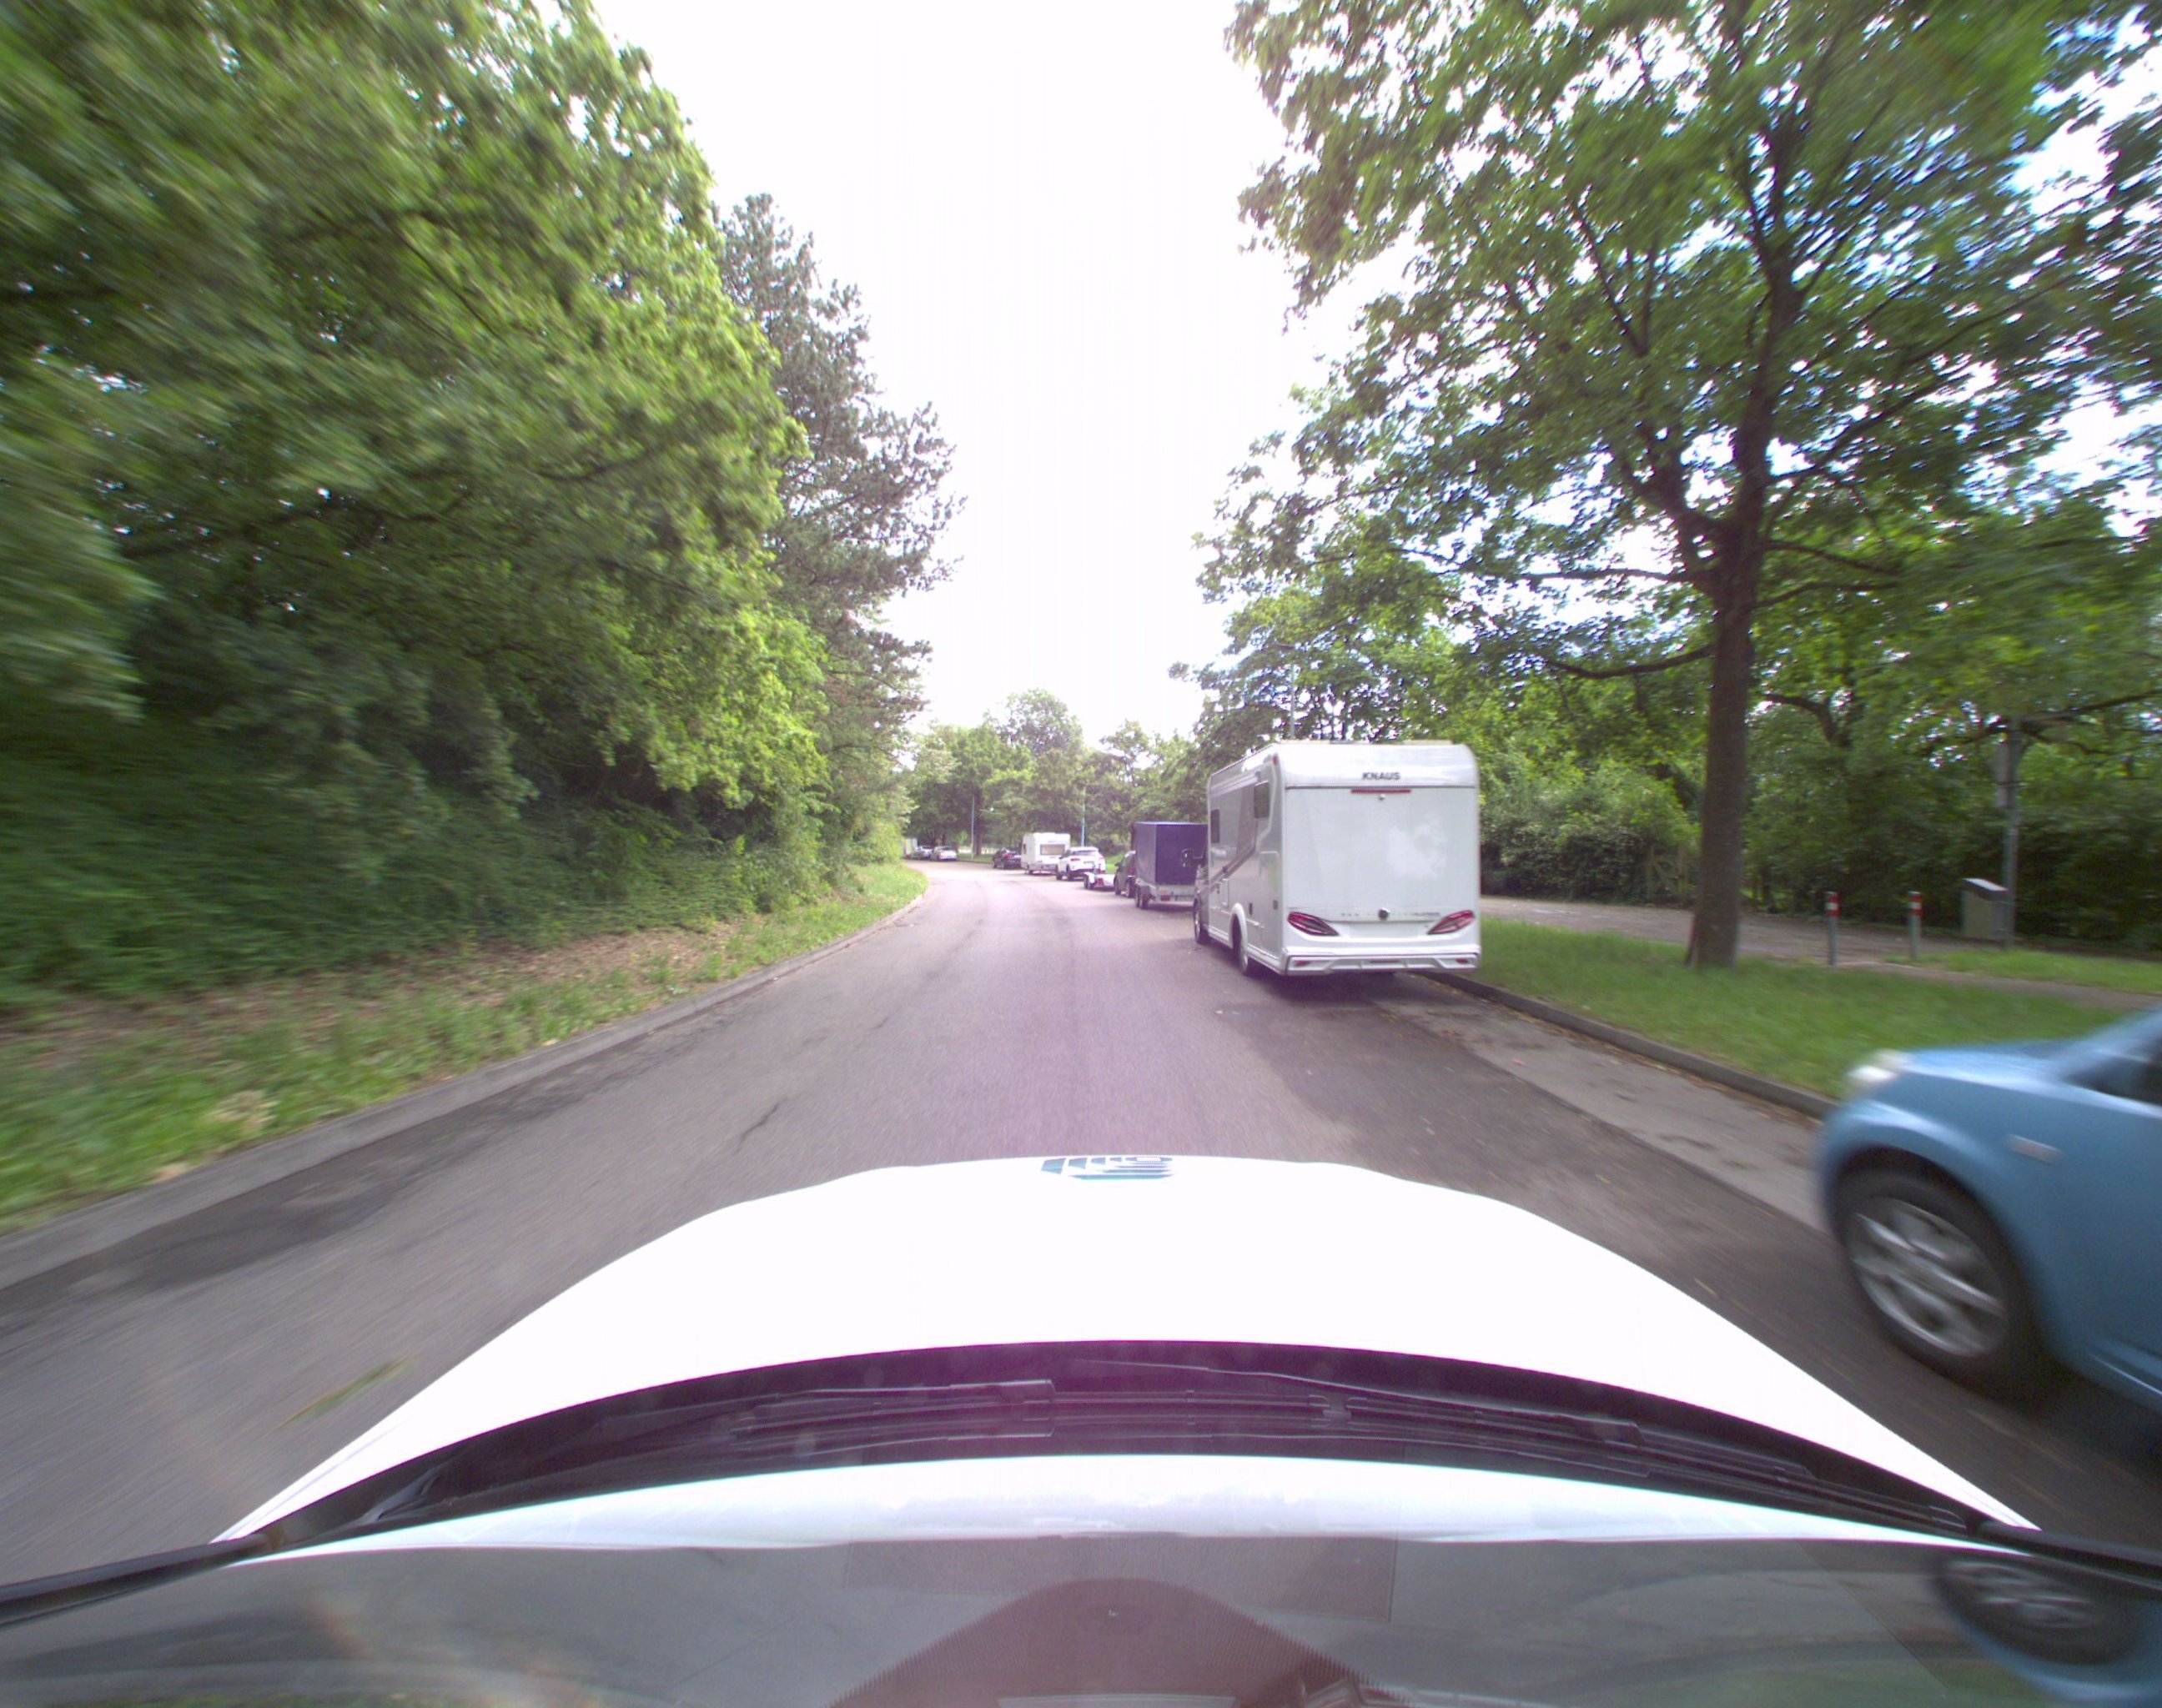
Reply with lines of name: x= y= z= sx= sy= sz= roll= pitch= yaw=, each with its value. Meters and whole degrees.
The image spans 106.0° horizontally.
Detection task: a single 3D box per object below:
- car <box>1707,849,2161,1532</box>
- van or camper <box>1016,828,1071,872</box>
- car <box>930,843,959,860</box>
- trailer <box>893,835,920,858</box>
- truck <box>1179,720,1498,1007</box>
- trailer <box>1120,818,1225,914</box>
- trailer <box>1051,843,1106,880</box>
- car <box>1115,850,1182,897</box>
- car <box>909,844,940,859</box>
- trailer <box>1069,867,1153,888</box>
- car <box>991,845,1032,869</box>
car: x=3.277 y=0.758 z=1.322 sx=1.689 sy=1.547 sz=3.769 roll=0 pitch=0 yaw=1
van or camper: x=-2.431 y=-0.237 z=50.804 sx=2.165 sy=2.536 sz=6.000 roll=0 pitch=0 yaw=-15
car: x=-13.271 y=-0.203 z=79.186 sx=1.911 sy=1.476 sz=4.027 roll=1 pitch=-2 yaw=-23
trailer: x=-19.236 y=-0.818 z=89.652 sx=1.772 sy=2.426 sz=3.848 roll=-2 pitch=1 yaw=-31
truck: x=3.108 y=0.068 z=11.964 sx=2.297 sy=2.933 sz=7.030 roll=-1 pitch=0 yaw=-1
trailer: x=2.432 y=0.200 z=22.911 sx=2.102 sy=2.361 sz=4.696 roll=-2 pitch=2 yaw=-4
trailer: x=-0.183 y=0.396 z=41.865 sx=1.774 sy=1.730 sz=4.629 roll=-2 pitch=0 yaw=-13
car: x=2.257 y=0.661 z=28.055 sx=1.727 sy=1.522 sz=3.398 roll=0 pitch=-1 yaw=-5
car: x=-16.391 y=-0.279 z=85.103 sx=1.753 sy=1.525 sz=4.590 roll=-2 pitch=1 yaw=-31
trailer: x=1.091 y=0.939 z=33.606 sx=2.105 sy=0.651 sz=6.377 roll=0 pitch=0 yaw=-11
car: x=-5.196 y=0.207 z=60.117 sx=1.855 sy=1.643 sz=4.500 roll=-1 pitch=1 yaw=-20
